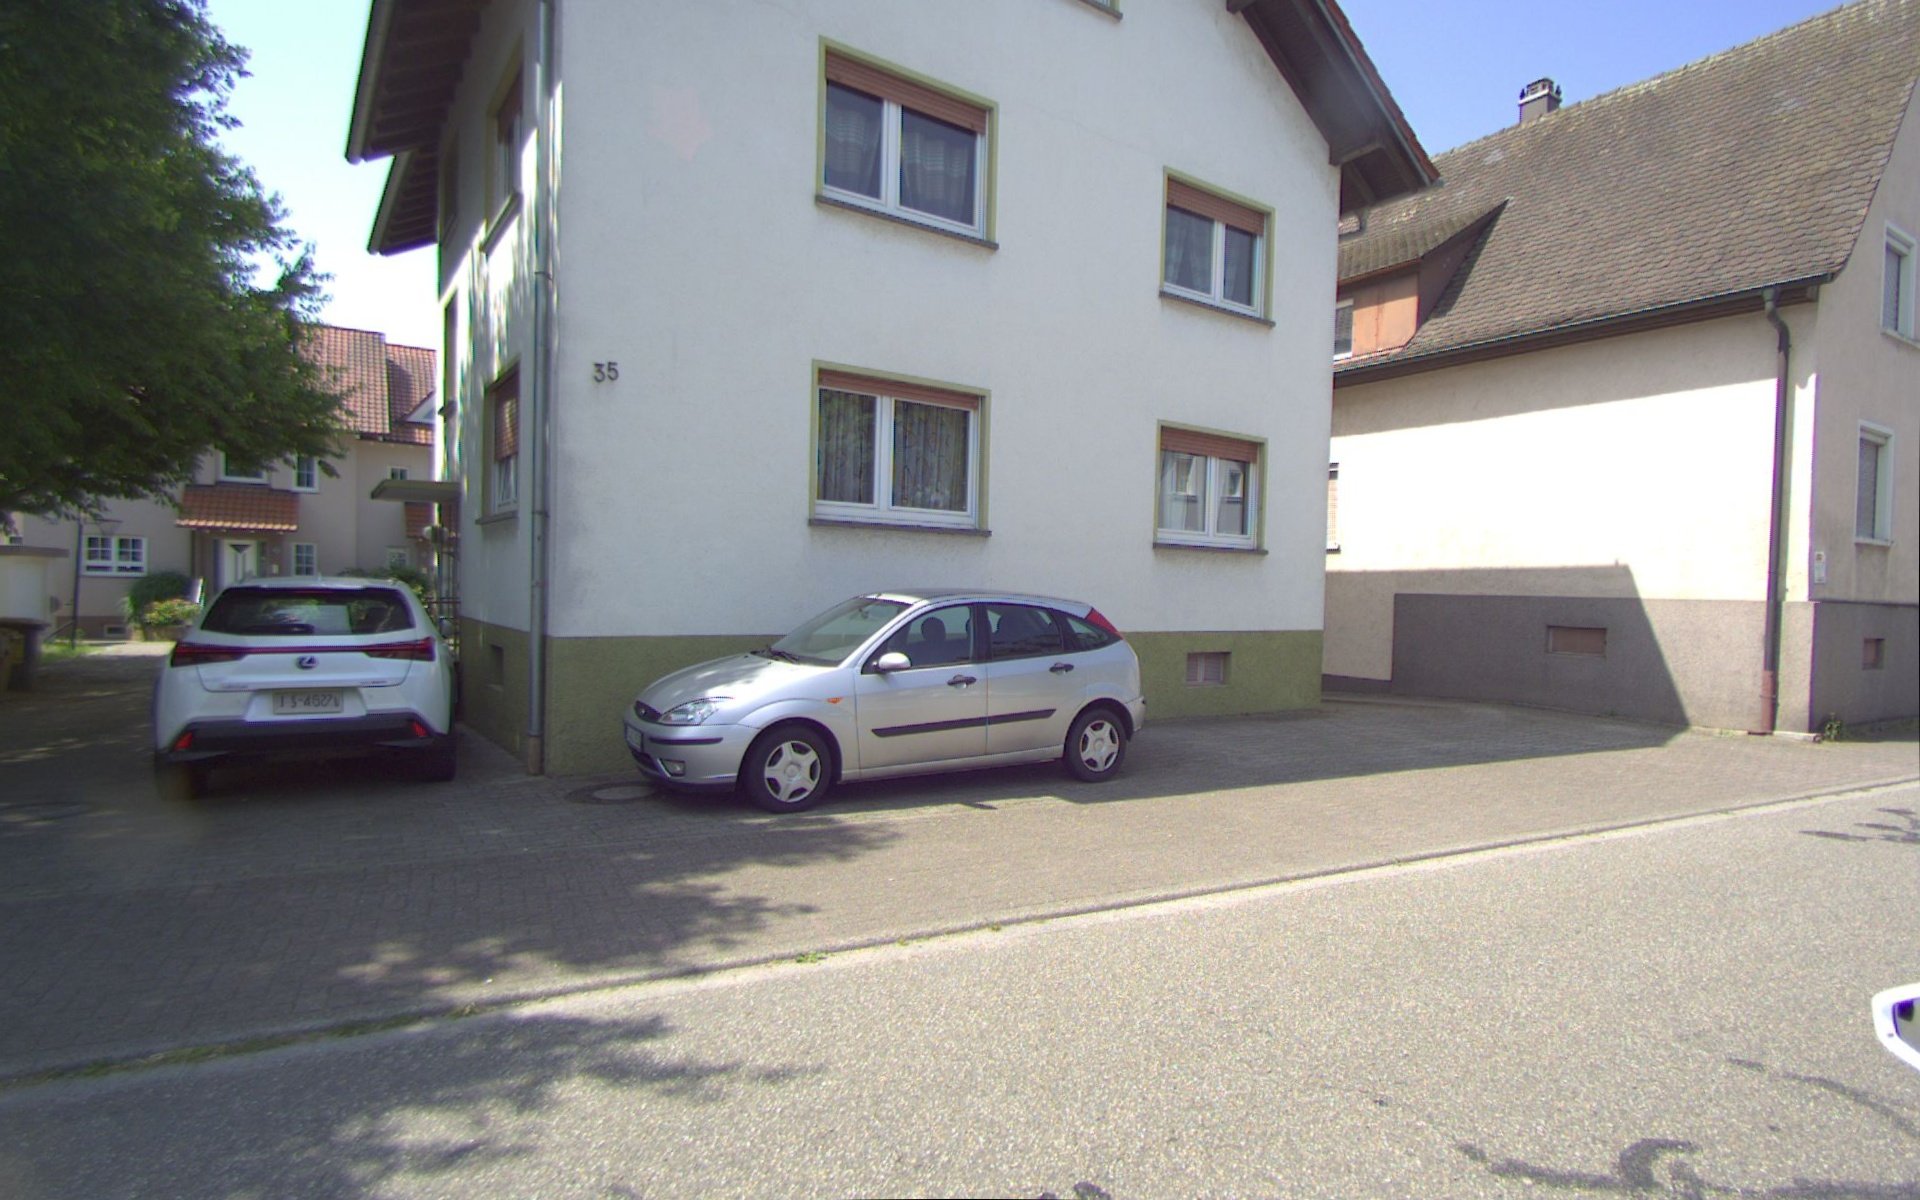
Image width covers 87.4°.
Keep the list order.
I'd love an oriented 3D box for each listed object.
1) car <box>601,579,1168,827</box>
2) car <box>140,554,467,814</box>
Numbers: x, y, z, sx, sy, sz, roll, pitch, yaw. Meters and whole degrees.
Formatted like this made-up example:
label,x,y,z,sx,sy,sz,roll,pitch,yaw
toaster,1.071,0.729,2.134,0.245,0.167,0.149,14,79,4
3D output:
label,x,y,z,sx,sy,sz,roll,pitch,yaw
car,-0.512,0.616,7.773,4.009,1.454,1.769,1,1,-31
car,-5.125,0.529,8.268,1.752,1.559,4.142,1,-1,-29
